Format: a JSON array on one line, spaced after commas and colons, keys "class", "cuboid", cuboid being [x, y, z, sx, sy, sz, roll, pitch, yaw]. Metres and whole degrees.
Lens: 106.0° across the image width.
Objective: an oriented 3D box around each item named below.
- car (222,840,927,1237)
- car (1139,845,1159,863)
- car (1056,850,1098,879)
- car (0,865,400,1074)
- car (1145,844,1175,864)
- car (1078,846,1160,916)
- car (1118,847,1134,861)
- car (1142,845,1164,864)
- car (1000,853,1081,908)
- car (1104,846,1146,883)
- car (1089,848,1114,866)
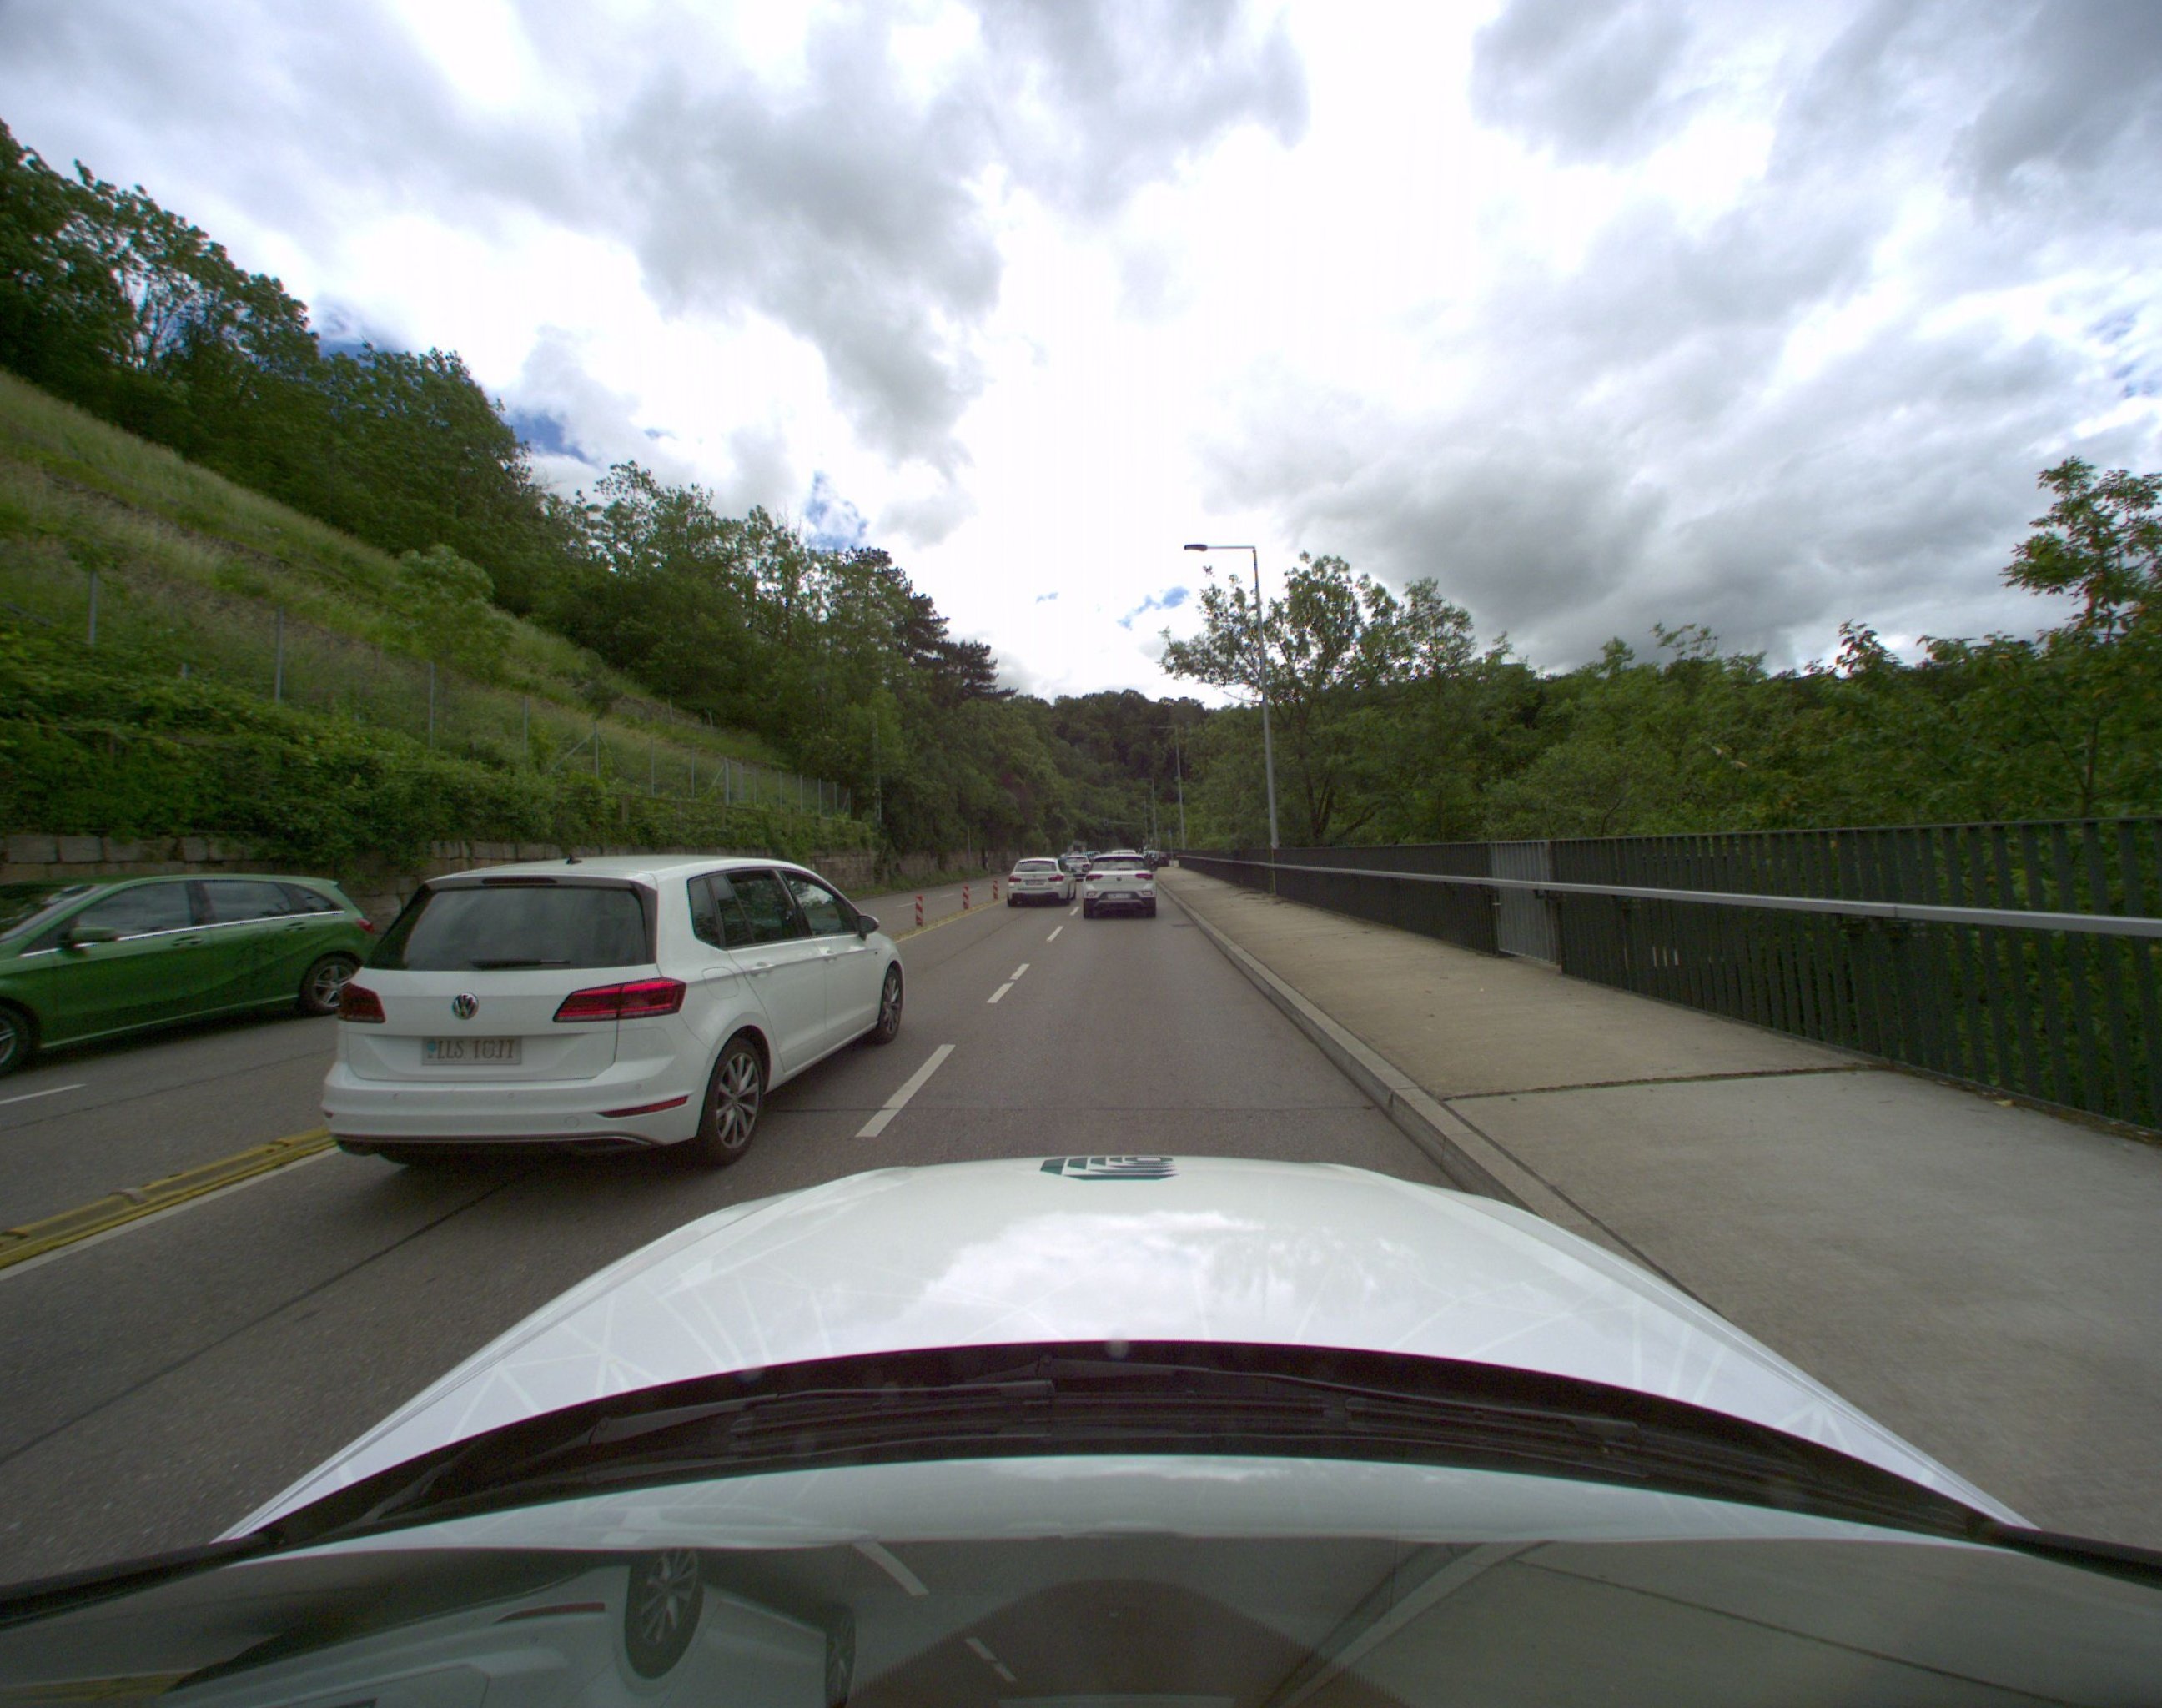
[{"class": "car", "cuboid": [-2.494, 0.767, 5.491, 1.813, 1.580, 4.359, -1, 0, 3]}, {"class": "car", "cuboid": [7.117, -0.030, 85.177, 1.985, 1.718, 4.118, -1, 2, 3]}, {"class": "car", "cuboid": [-0.183, 0.567, 46.783, 1.984, 1.503, 4.674, -1, 1, 5]}, {"class": "car", "cuboid": [-8.965, 0.928, 7.308, 1.843, 1.515, 4.338, -3, 0, 3]}, {"class": "car", "cuboid": [6.491, -0.002, 67.283, 1.811, 1.508, 3.995, -1, 0, -3]}, {"class": "car", "cuboid": [1.076, 0.614, 20.901, 1.818, 1.605, 4.008, 1, 0, 7]}, {"class": "car", "cuboid": [5.896, 0.010, 107.750, 1.986, 1.860, 4.001, 1, 0, 1]}, {"class": "car", "cuboid": [7.034, -0.010, 79.772, 1.985, 1.718, 4.118, -1, 2, 3]}, {"class": "car", "cuboid": [-1.156, 0.747, 25.609, 1.819, 1.459, 4.493, -3, 0, 6]}, {"class": "car", "cuboid": [2.286, 0.495, 41.730, 1.984, 1.718, 4.119, -2, 1, 5]}, {"class": "car", "cuboid": [1.985, 0.270, 76.834, 1.984, 1.503, 4.674, -2, 1, 5]}]
